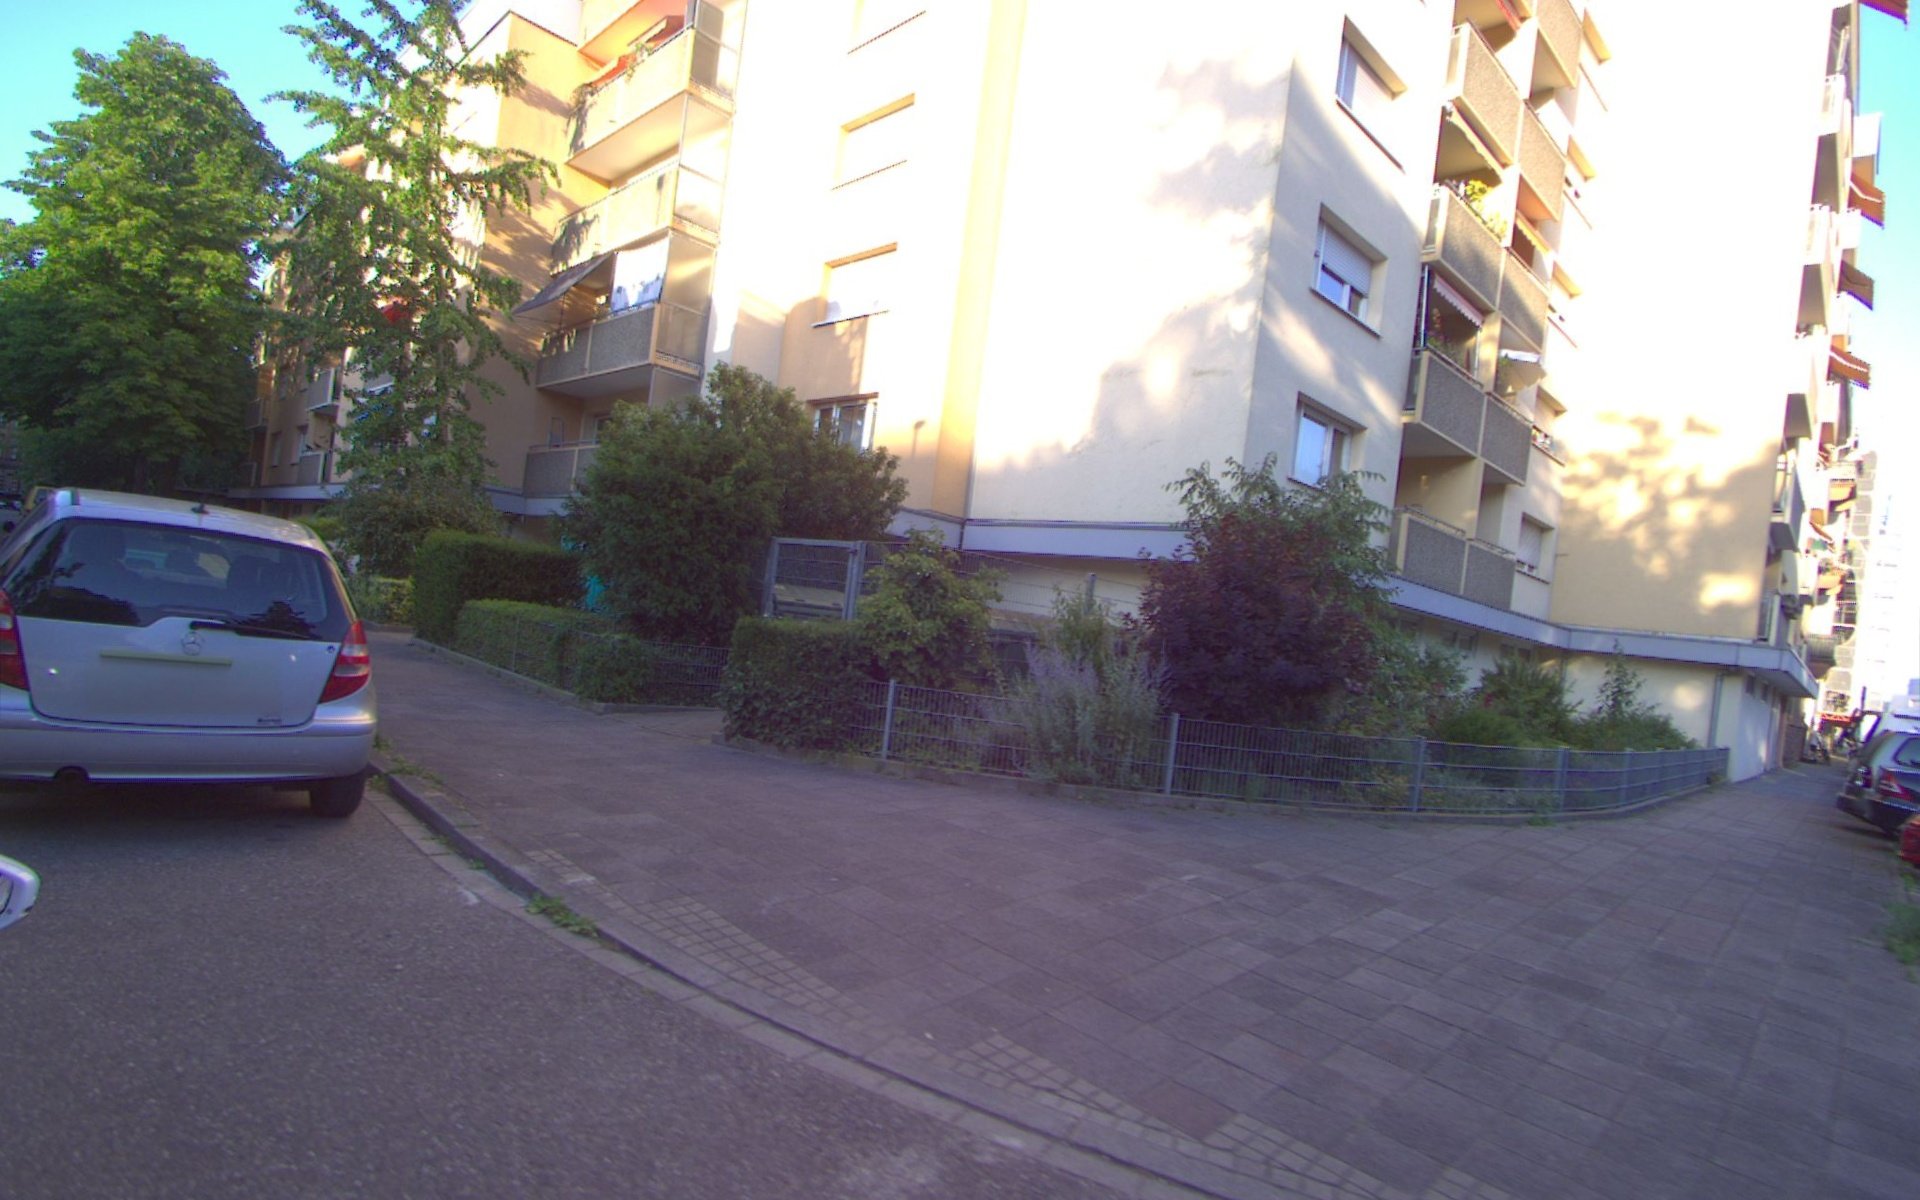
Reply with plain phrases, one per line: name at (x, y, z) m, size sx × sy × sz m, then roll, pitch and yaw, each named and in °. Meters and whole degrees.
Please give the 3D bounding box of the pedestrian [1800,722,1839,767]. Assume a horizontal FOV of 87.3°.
pedestrian at (38.104, 6.394, 44.619) m, size 1.148 × 1.800 × 0.869 m, roll 4°, pitch 1°, yaw 36°

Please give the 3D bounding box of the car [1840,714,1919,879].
car at (11.314, 2.223, 9.767) m, size 3.941 × 1.571 × 1.822 m, roll 7°, pitch 0°, yaw 39°

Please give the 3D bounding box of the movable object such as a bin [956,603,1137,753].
movable object such as a bin at (1.007, 0.898, 11.785) m, size 1.560 × 1.489 × 1.181 m, roll 8°, pitch 0°, yaw 42°

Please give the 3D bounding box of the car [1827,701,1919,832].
car at (18.480, 3.222, 17.391) m, size 5.011 × 2.111 × 1.989 m, roll 7°, pitch 0°, yaw 44°

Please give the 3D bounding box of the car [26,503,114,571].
car at (-24.625, -1.769, 27.808) m, size 1.605 × 1.529 × 3.434 m, roll 7°, pitch 0°, yaw -44°

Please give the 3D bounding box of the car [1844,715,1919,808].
car at (24.553, 4.192, 24.537) m, size 4.304 × 2.022 × 1.735 m, roll 7°, pitch 0°, yaw 43°

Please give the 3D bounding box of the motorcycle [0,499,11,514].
motorcycle at (-94.926, -9.320, 99.063) m, size 0.568 × 1.357 × 1.932 m, roll 8°, pitch 0°, yaw 36°

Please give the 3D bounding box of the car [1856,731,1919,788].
car at (34.060, 5.782, 34.897) m, size 4.304 × 1.680 × 1.735 m, roll 7°, pitch 0°, yaw 43°

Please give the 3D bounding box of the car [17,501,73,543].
car at (-42.272, -3.614, 46.425) m, size 1.717 × 1.538 × 3.975 m, roll 8°, pitch 0°, yaw -44°

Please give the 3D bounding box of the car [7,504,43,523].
car at (-99.068, -9.174, 106.545) m, size 2.716 × 1.544 × 1.680 m, roll 7°, pitch -1°, yaw 22°

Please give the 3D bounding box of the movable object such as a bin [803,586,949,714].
movable object such as a bin at (-1.094, 0.653, 13.062) m, size 1.282 × 1.433 × 1.181 m, roll 8°, pitch 0°, yaw 42°

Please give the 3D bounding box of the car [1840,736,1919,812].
car at (22.916, 4.224, 22.962) m, size 4.088 × 1.478 × 1.735 m, roll 7°, pitch 0°, yaw 43°

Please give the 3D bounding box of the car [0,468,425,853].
car at (-4.823, 0.177, 5.992) m, size 1.804 × 1.595 × 3.836 m, roll 7°, pitch 0°, yaw -44°

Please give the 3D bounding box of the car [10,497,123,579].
car at (-21.611, -1.530, 24.274) m, size 1.786 × 1.582 × 4.141 m, roll 7°, pitch 0°, yaw -44°

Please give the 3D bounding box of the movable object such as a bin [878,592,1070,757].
movable object such as a bin at (0.139, 0.778, 10.790) m, size 1.560 × 1.489 × 1.121 m, roll 8°, pitch 0°, yaw 42°

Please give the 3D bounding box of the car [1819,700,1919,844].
car at (14.575, 2.609, 13.799) m, size 3.994 × 1.835 × 1.822 m, roll 7°, pitch 0°, yaw 39°

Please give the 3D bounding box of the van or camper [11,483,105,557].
van or camper at (-31.636, -2.827, 35.231) m, size 2.059 × 2.121 × 5.025 m, roll 7°, pitch 0°, yaw -45°

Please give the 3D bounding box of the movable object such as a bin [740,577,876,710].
movable object such as a bin at (-1.869, 0.525, 12.311) m, size 1.283 × 1.433 × 0.875 m, roll 8°, pitch 0°, yaw 42°

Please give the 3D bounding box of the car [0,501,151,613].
car at (-14.863, -0.778, 16.672) m, size 1.804 × 1.434 × 4.568 m, roll 7°, pitch -1°, yaw -44°

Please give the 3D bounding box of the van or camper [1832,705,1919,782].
van or camper at (37.826, 5.828, 38.849) m, size 6.021 × 2.521 × 2.186 m, roll 7°, pitch 0°, yaw 43°

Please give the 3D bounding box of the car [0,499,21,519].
car at (-102.610, -9.849, 107.820) m, size 2.959 × 1.804 × 1.680 m, roll 7°, pitch -1°, yaw 22°

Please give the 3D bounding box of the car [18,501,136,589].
car at (-18.534, -1.188, 21.060) m, size 1.605 × 1.479 × 4.004 m, roll 7°, pitch 0°, yaw -44°

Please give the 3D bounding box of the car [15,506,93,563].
car at (-28.176, -2.075, 31.325) m, size 1.601 × 1.398 × 3.952 m, roll 8°, pitch 0°, yaw -42°

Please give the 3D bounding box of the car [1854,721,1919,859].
car at (13.164, 2.518, 11.662) m, size 3.941 × 1.571 × 1.822 m, roll 7°, pitch 0°, yaw 39°

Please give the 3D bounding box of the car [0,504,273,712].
car at (-7.825, -0.013, 9.303) m, size 1.712 × 1.436 × 3.977 m, roll 7°, pitch -1°, yaw -44°

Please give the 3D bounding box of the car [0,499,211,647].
car at (-10.862, -0.394, 12.650) m, size 1.804 × 1.434 × 3.848 m, roll 7°, pitch -1°, yaw -43°

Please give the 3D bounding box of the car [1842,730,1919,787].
car at (35.124, 5.947, 36.683) m, size 4.304 × 1.680 × 1.735 m, roll 7°, pitch 0°, yaw 43°

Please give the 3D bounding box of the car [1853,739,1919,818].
car at (21.366, 3.989, 20.879) m, size 4.088 × 1.478 × 1.735 m, roll 7°, pitch 0°, yaw 43°

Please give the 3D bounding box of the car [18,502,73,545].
car at (-38.953, -3.275, 42.834) m, size 1.559 × 1.468 × 3.410 m, roll 7°, pitch 0°, yaw -44°

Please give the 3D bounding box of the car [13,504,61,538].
car at (-49.450, -4.249, 53.877) m, size 1.754 × 1.460 × 3.955 m, roll 8°, pitch 0°, yaw -43°
